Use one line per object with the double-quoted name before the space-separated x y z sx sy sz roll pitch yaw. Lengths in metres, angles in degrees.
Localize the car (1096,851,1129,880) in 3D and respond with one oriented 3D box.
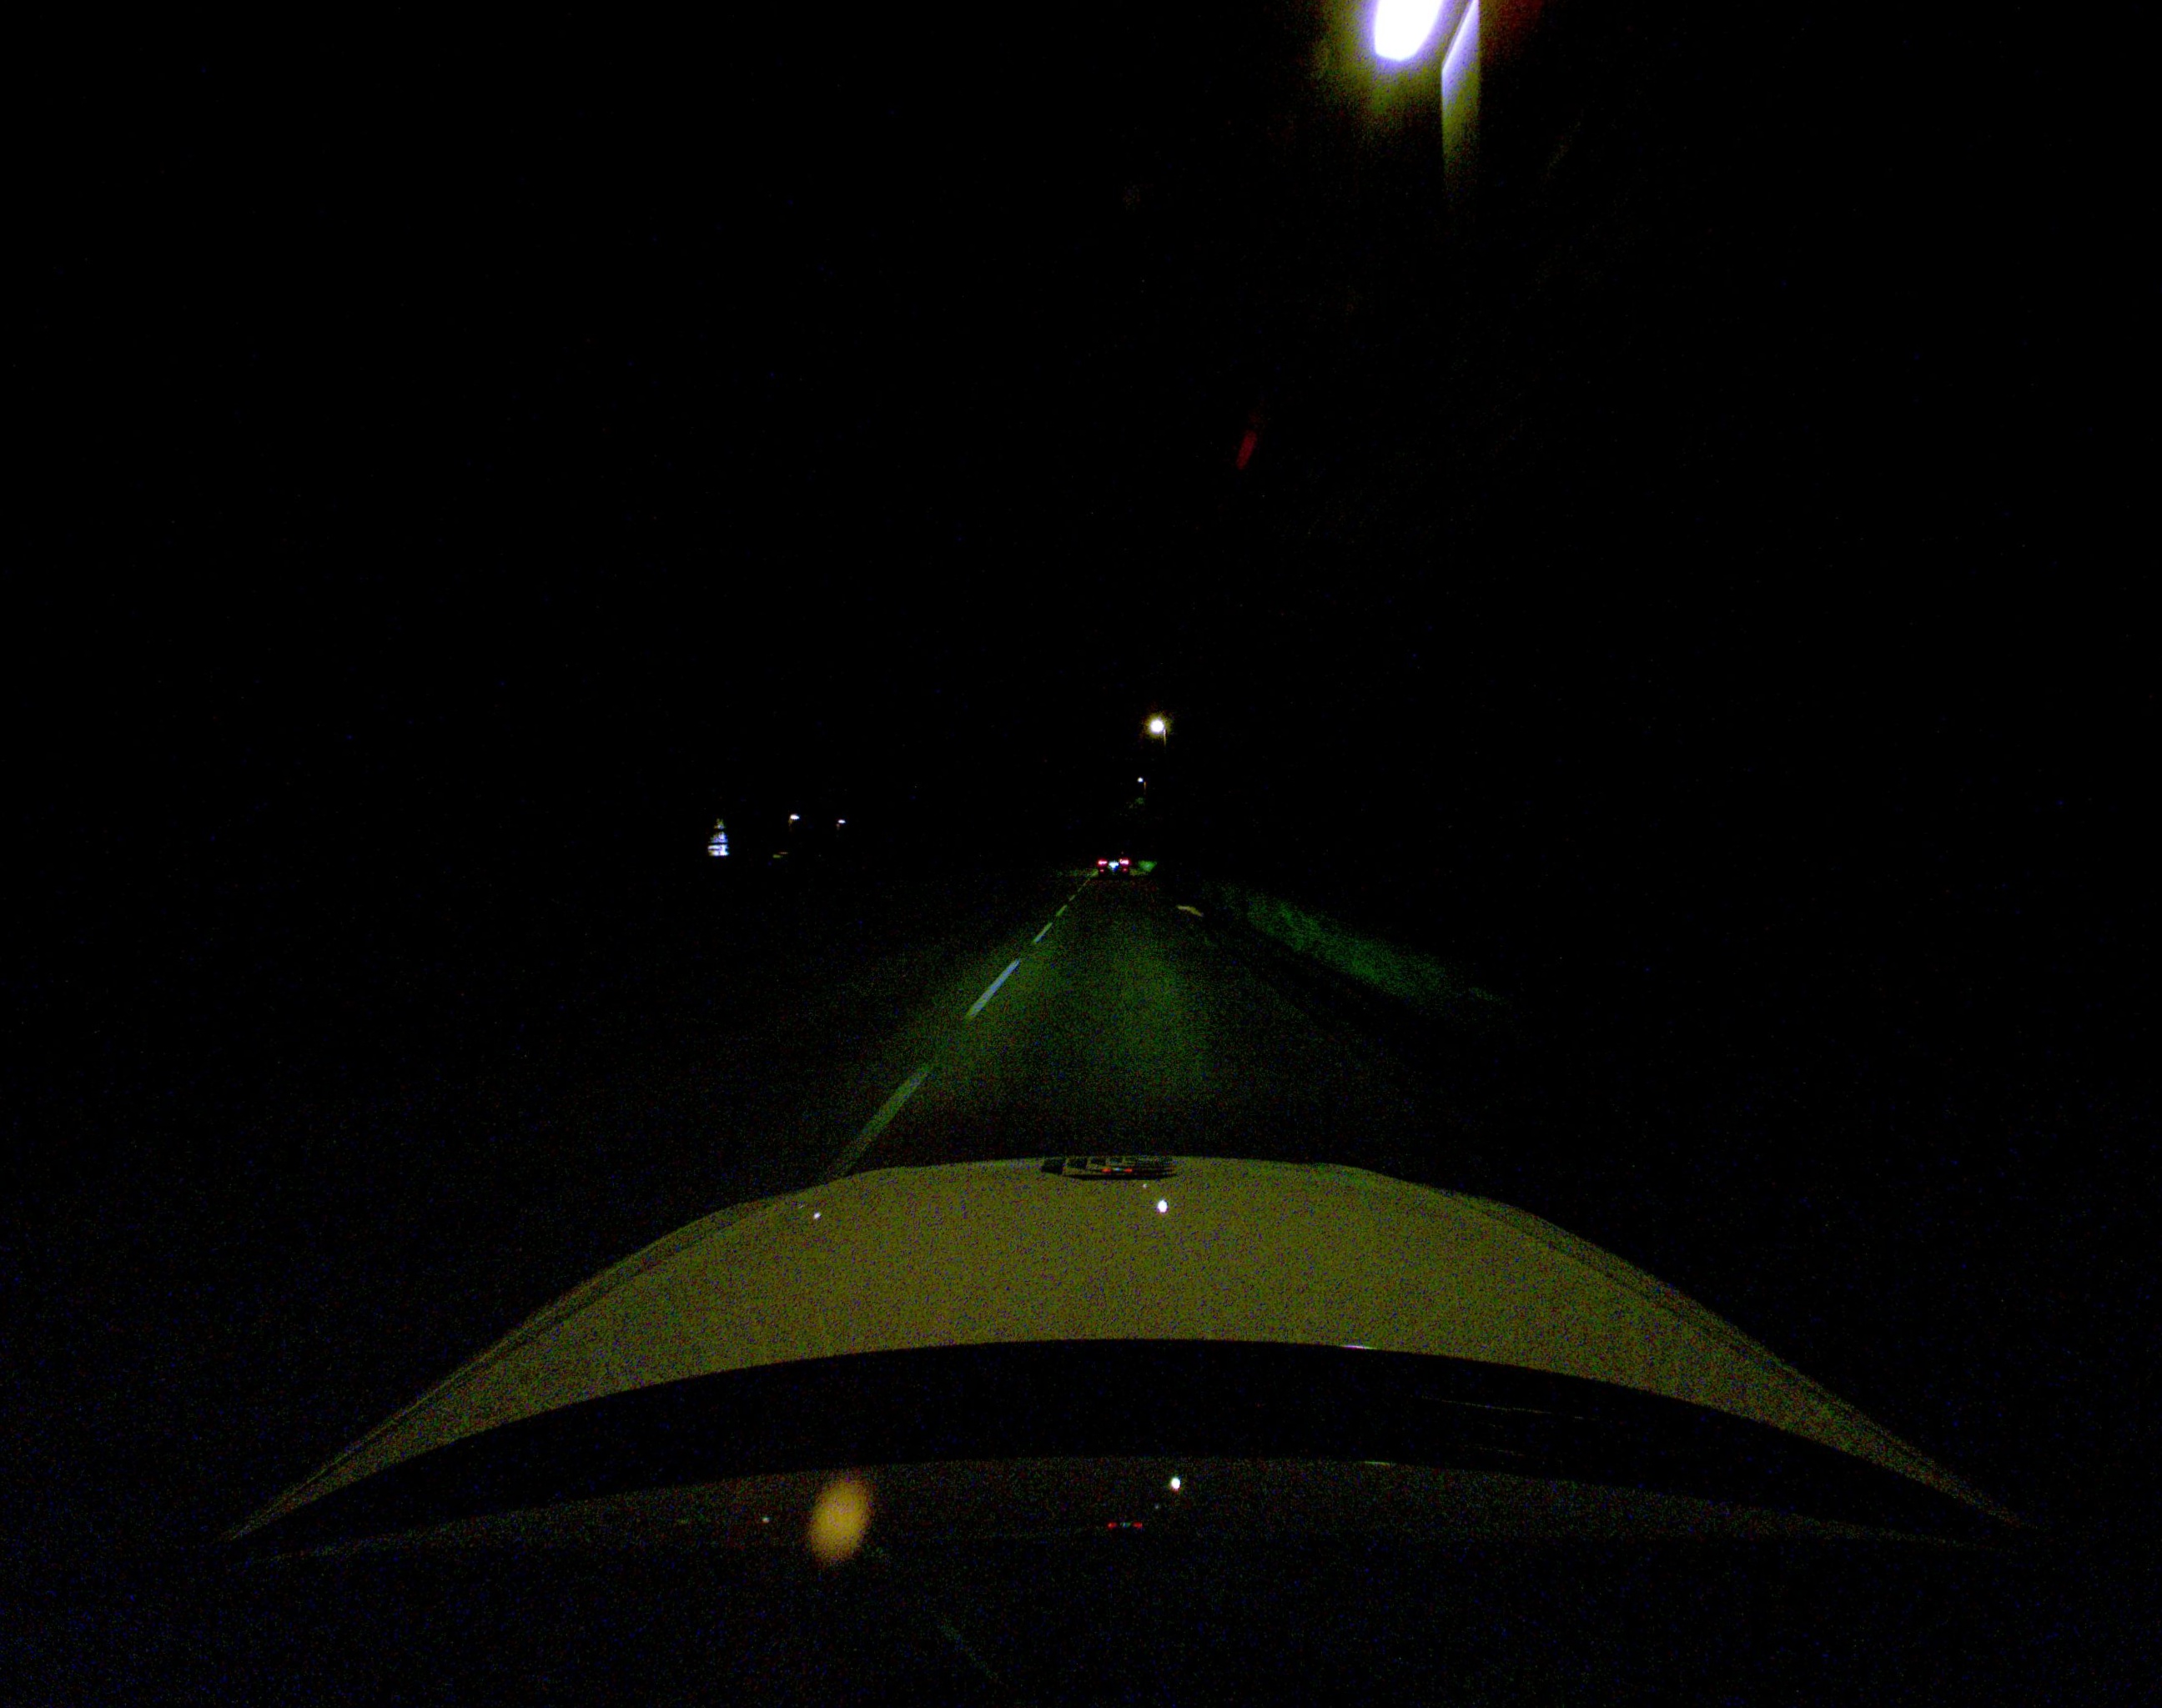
"car" 1.829 0.624 47.462 1.808 1.573 3.945 -1 0 2
